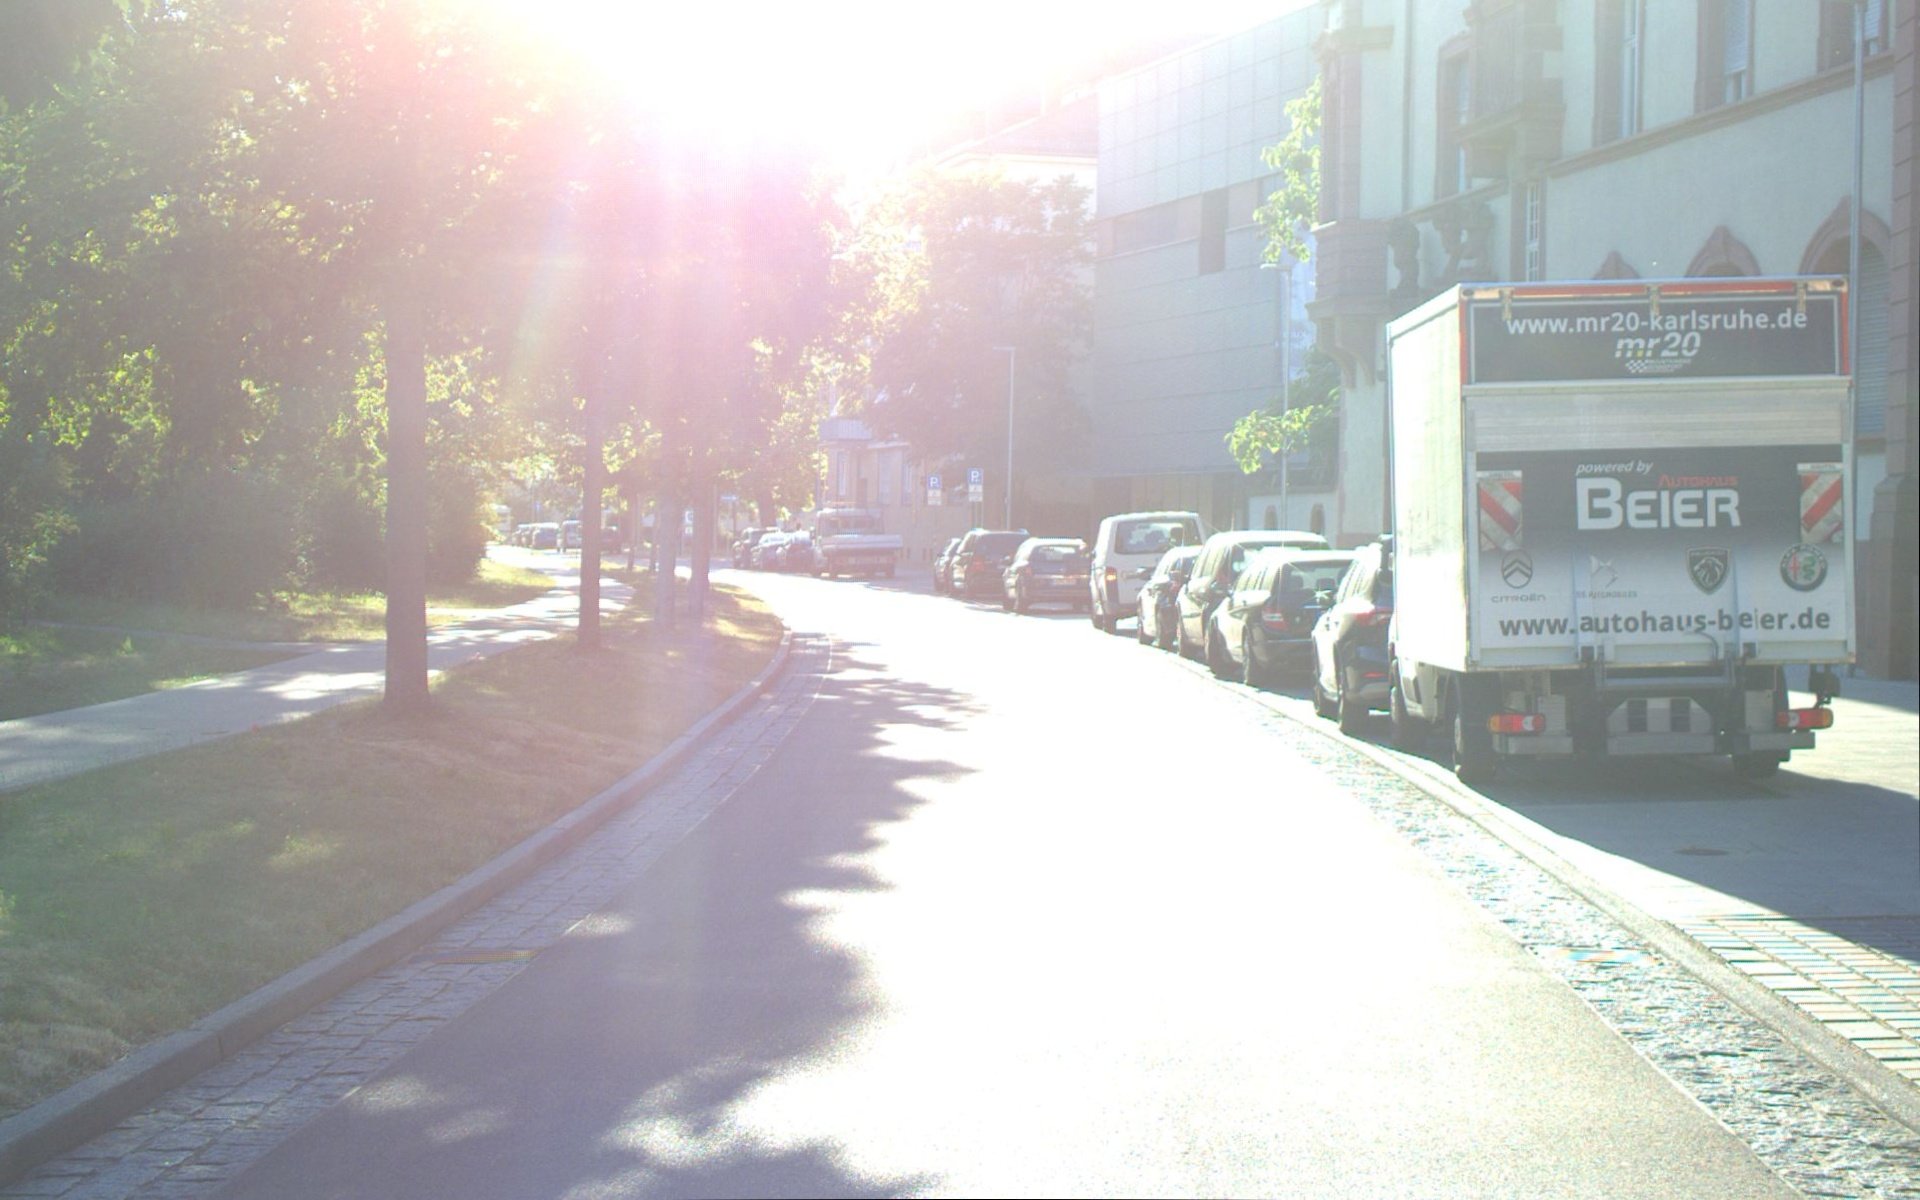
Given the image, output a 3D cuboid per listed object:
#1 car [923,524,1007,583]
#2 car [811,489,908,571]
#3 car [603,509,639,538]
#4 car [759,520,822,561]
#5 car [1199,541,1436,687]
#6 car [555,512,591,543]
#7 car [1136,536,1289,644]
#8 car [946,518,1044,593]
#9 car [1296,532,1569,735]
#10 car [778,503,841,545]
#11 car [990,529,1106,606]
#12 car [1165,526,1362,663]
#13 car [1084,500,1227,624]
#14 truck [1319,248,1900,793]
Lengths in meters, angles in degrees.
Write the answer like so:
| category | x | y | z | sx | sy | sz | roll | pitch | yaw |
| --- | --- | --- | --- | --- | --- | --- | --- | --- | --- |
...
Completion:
| category | x | y | z | sx | sy | sz | roll | pitch | yaw |
| --- | --- | --- | --- | --- | --- | --- | --- | --- | --- |
| car | 0.103 | -1.198 | 87.637 | 1.724 | 1.416 | 3.907 | 0 | 2 | -6 |
| car | -3.263 | -2.263 | 110.128 | 2.211 | 2.521 | 6.149 | -2 | 2 | -10 |
| car | -18.161 | -4.095 | 184.225 | 1.793 | 1.504 | 4.001 | 1 | 1 | -7 |
| car | -6.212 | -2.177 | 125.767 | 1.690 | 1.435 | 4.105 | 0 | 2 | -12 |
| car | 3.838 | 0.108 | 37.636 | 1.871 | 1.431 | 4.523 | -1 | 1 | -3 |
| car | -22.230 | -4.150 | 197.603 | 1.793 | 1.718 | 4.001 | 1 | 1 | -10 |
| car | 3.514 | -0.180 | 48.441 | 1.679 | 1.398 | 4.200 | -1 | 1 | -2 |
| car | 0.802 | -1.078 | 81.284 | 1.724 | 1.663 | 4.115 | -1 | 2 | -8 |
| car | 3.887 | 0.213 | 28.966 | 1.768 | 1.525 | 4.572 | -1 | 1 | 2 |
| car | -5.309 | -2.697 | 121.193 | 1.690 | 1.435 | 3.552 | 0 | 2 | -12 |
| car | 1.782 | -0.699 | 70.933 | 1.747 | 1.461 | 4.479 | 2 | 1 | -6 |
| car | 3.746 | -0.108 | 43.129 | 1.815 | 1.596 | 4.193 | -1 | 1 | -4 |
| car | 3.309 | -0.680 | 59.079 | 1.993 | 1.959 | 4.850 | -3 | 1 | -1 |
| truck | 4.098 | -0.538 | 23.022 | 2.623 | 3.110 | 6.088 | -1 | 1 | -1 |
